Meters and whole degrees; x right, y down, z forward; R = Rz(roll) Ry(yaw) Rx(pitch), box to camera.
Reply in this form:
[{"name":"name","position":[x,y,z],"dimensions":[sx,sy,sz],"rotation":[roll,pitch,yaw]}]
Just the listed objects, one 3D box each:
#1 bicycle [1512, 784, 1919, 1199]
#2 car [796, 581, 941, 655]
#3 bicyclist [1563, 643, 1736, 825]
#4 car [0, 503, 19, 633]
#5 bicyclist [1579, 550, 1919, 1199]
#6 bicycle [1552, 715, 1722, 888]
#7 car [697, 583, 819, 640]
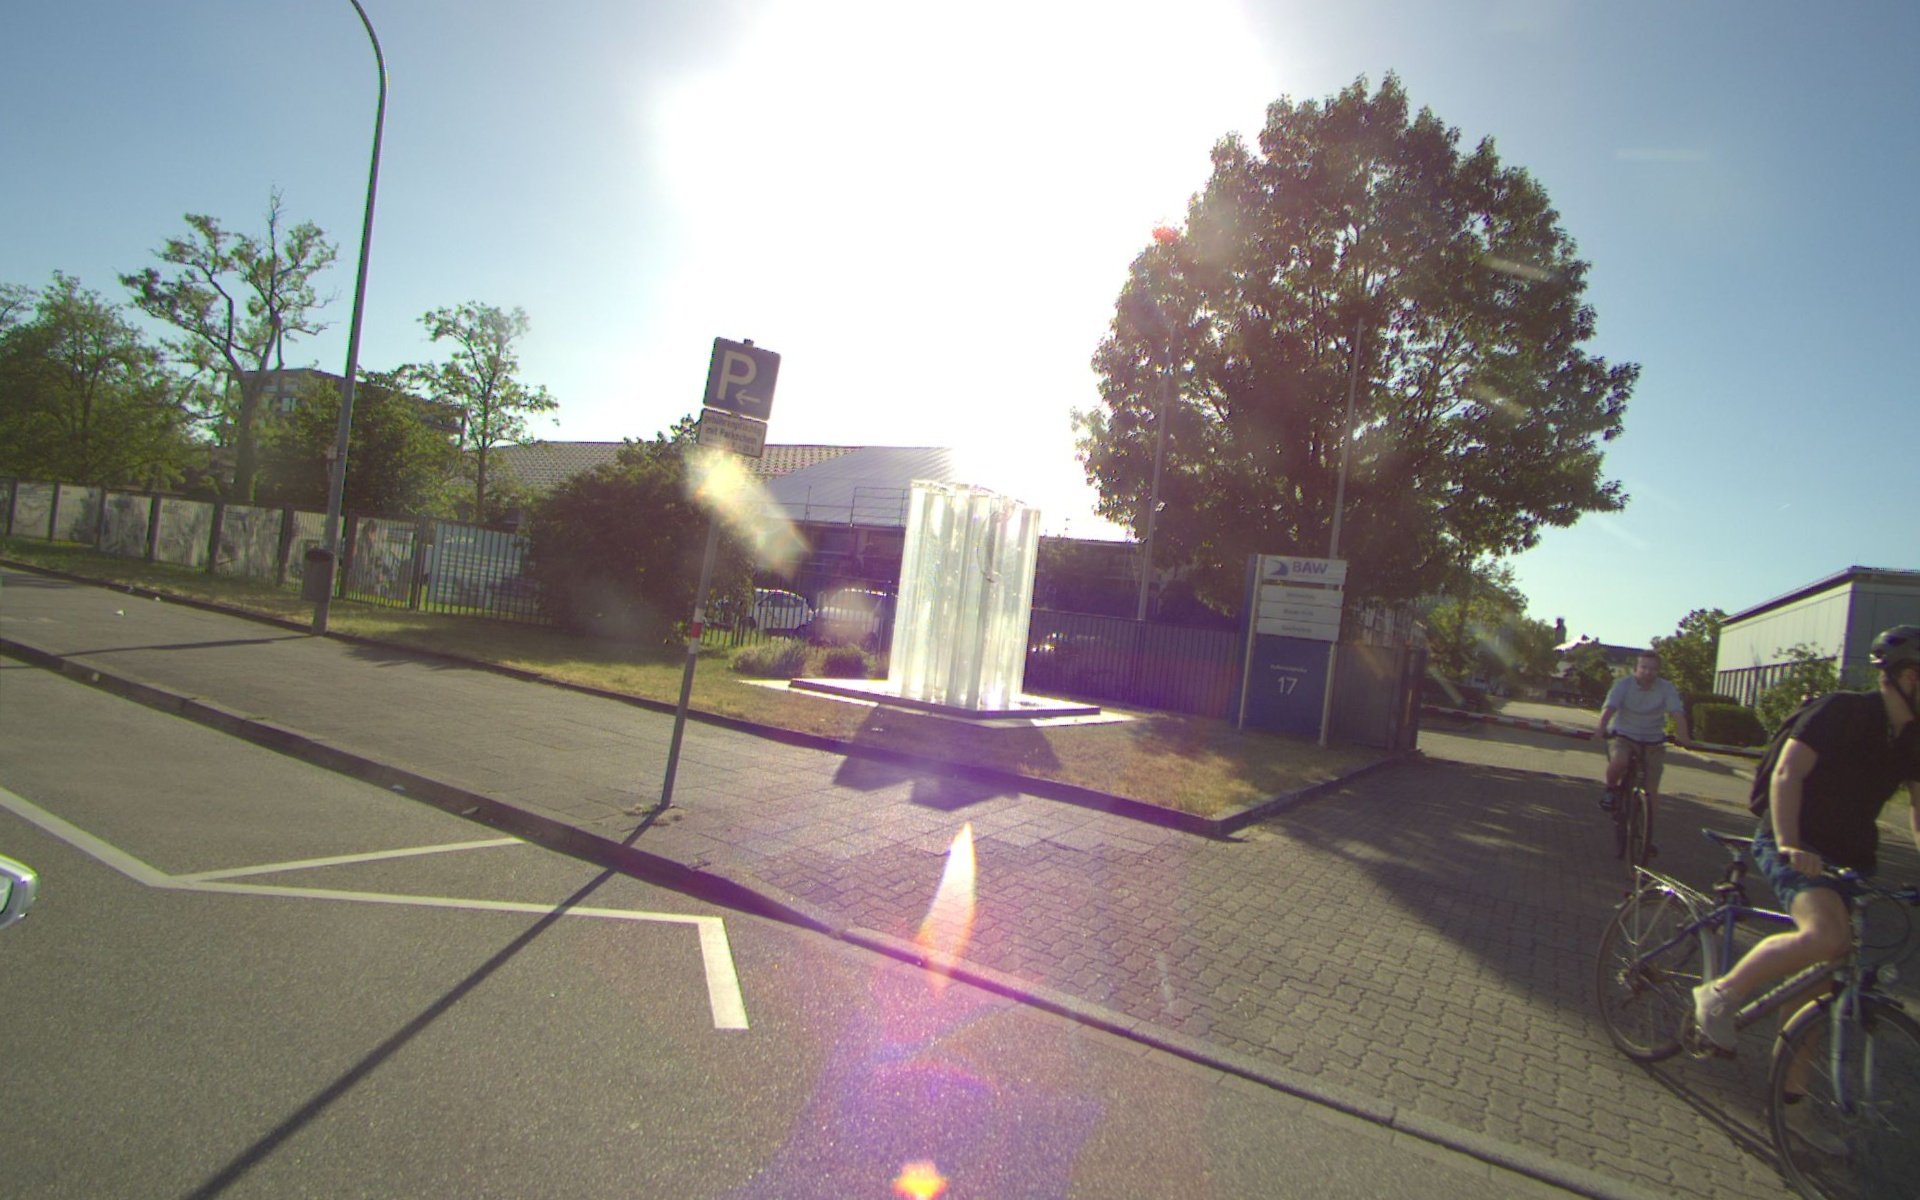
[{"name":"bicycle","position":[3.030,1.434,3.817],"dimensions":[0.688,1.022,1.883],"rotation":[6,2,-1]},{"name":"car","position":[-2.556,0.588,29.298],"dimensions":[1.964,1.688,4.641],"rotation":[7,-1,25]},{"name":"bicyclist","position":[5.655,1.076,8.246],"dimensions":[1.093,1.284,0.852],"rotation":[7,0,-44]},{"name":"car","position":[-11.490,-0.466,10.114],"dimensions":[4.143,1.504,1.705],"rotation":[7,-2,30]},{"name":"bicyclist","position":[3.109,0.913,3.538],"dimensions":[0.942,2.040,1.052],"rotation":[7,2,0]},{"name":"bicycle","position":[5.543,1.566,8.185],"dimensions":[1.890,1.157,0.659],"rotation":[6,1,-44]},{"name":"car","position":[-6.361,0.399,32.092],"dimensions":[1.646,1.396,3.897],"rotation":[7,-1,28]}]
